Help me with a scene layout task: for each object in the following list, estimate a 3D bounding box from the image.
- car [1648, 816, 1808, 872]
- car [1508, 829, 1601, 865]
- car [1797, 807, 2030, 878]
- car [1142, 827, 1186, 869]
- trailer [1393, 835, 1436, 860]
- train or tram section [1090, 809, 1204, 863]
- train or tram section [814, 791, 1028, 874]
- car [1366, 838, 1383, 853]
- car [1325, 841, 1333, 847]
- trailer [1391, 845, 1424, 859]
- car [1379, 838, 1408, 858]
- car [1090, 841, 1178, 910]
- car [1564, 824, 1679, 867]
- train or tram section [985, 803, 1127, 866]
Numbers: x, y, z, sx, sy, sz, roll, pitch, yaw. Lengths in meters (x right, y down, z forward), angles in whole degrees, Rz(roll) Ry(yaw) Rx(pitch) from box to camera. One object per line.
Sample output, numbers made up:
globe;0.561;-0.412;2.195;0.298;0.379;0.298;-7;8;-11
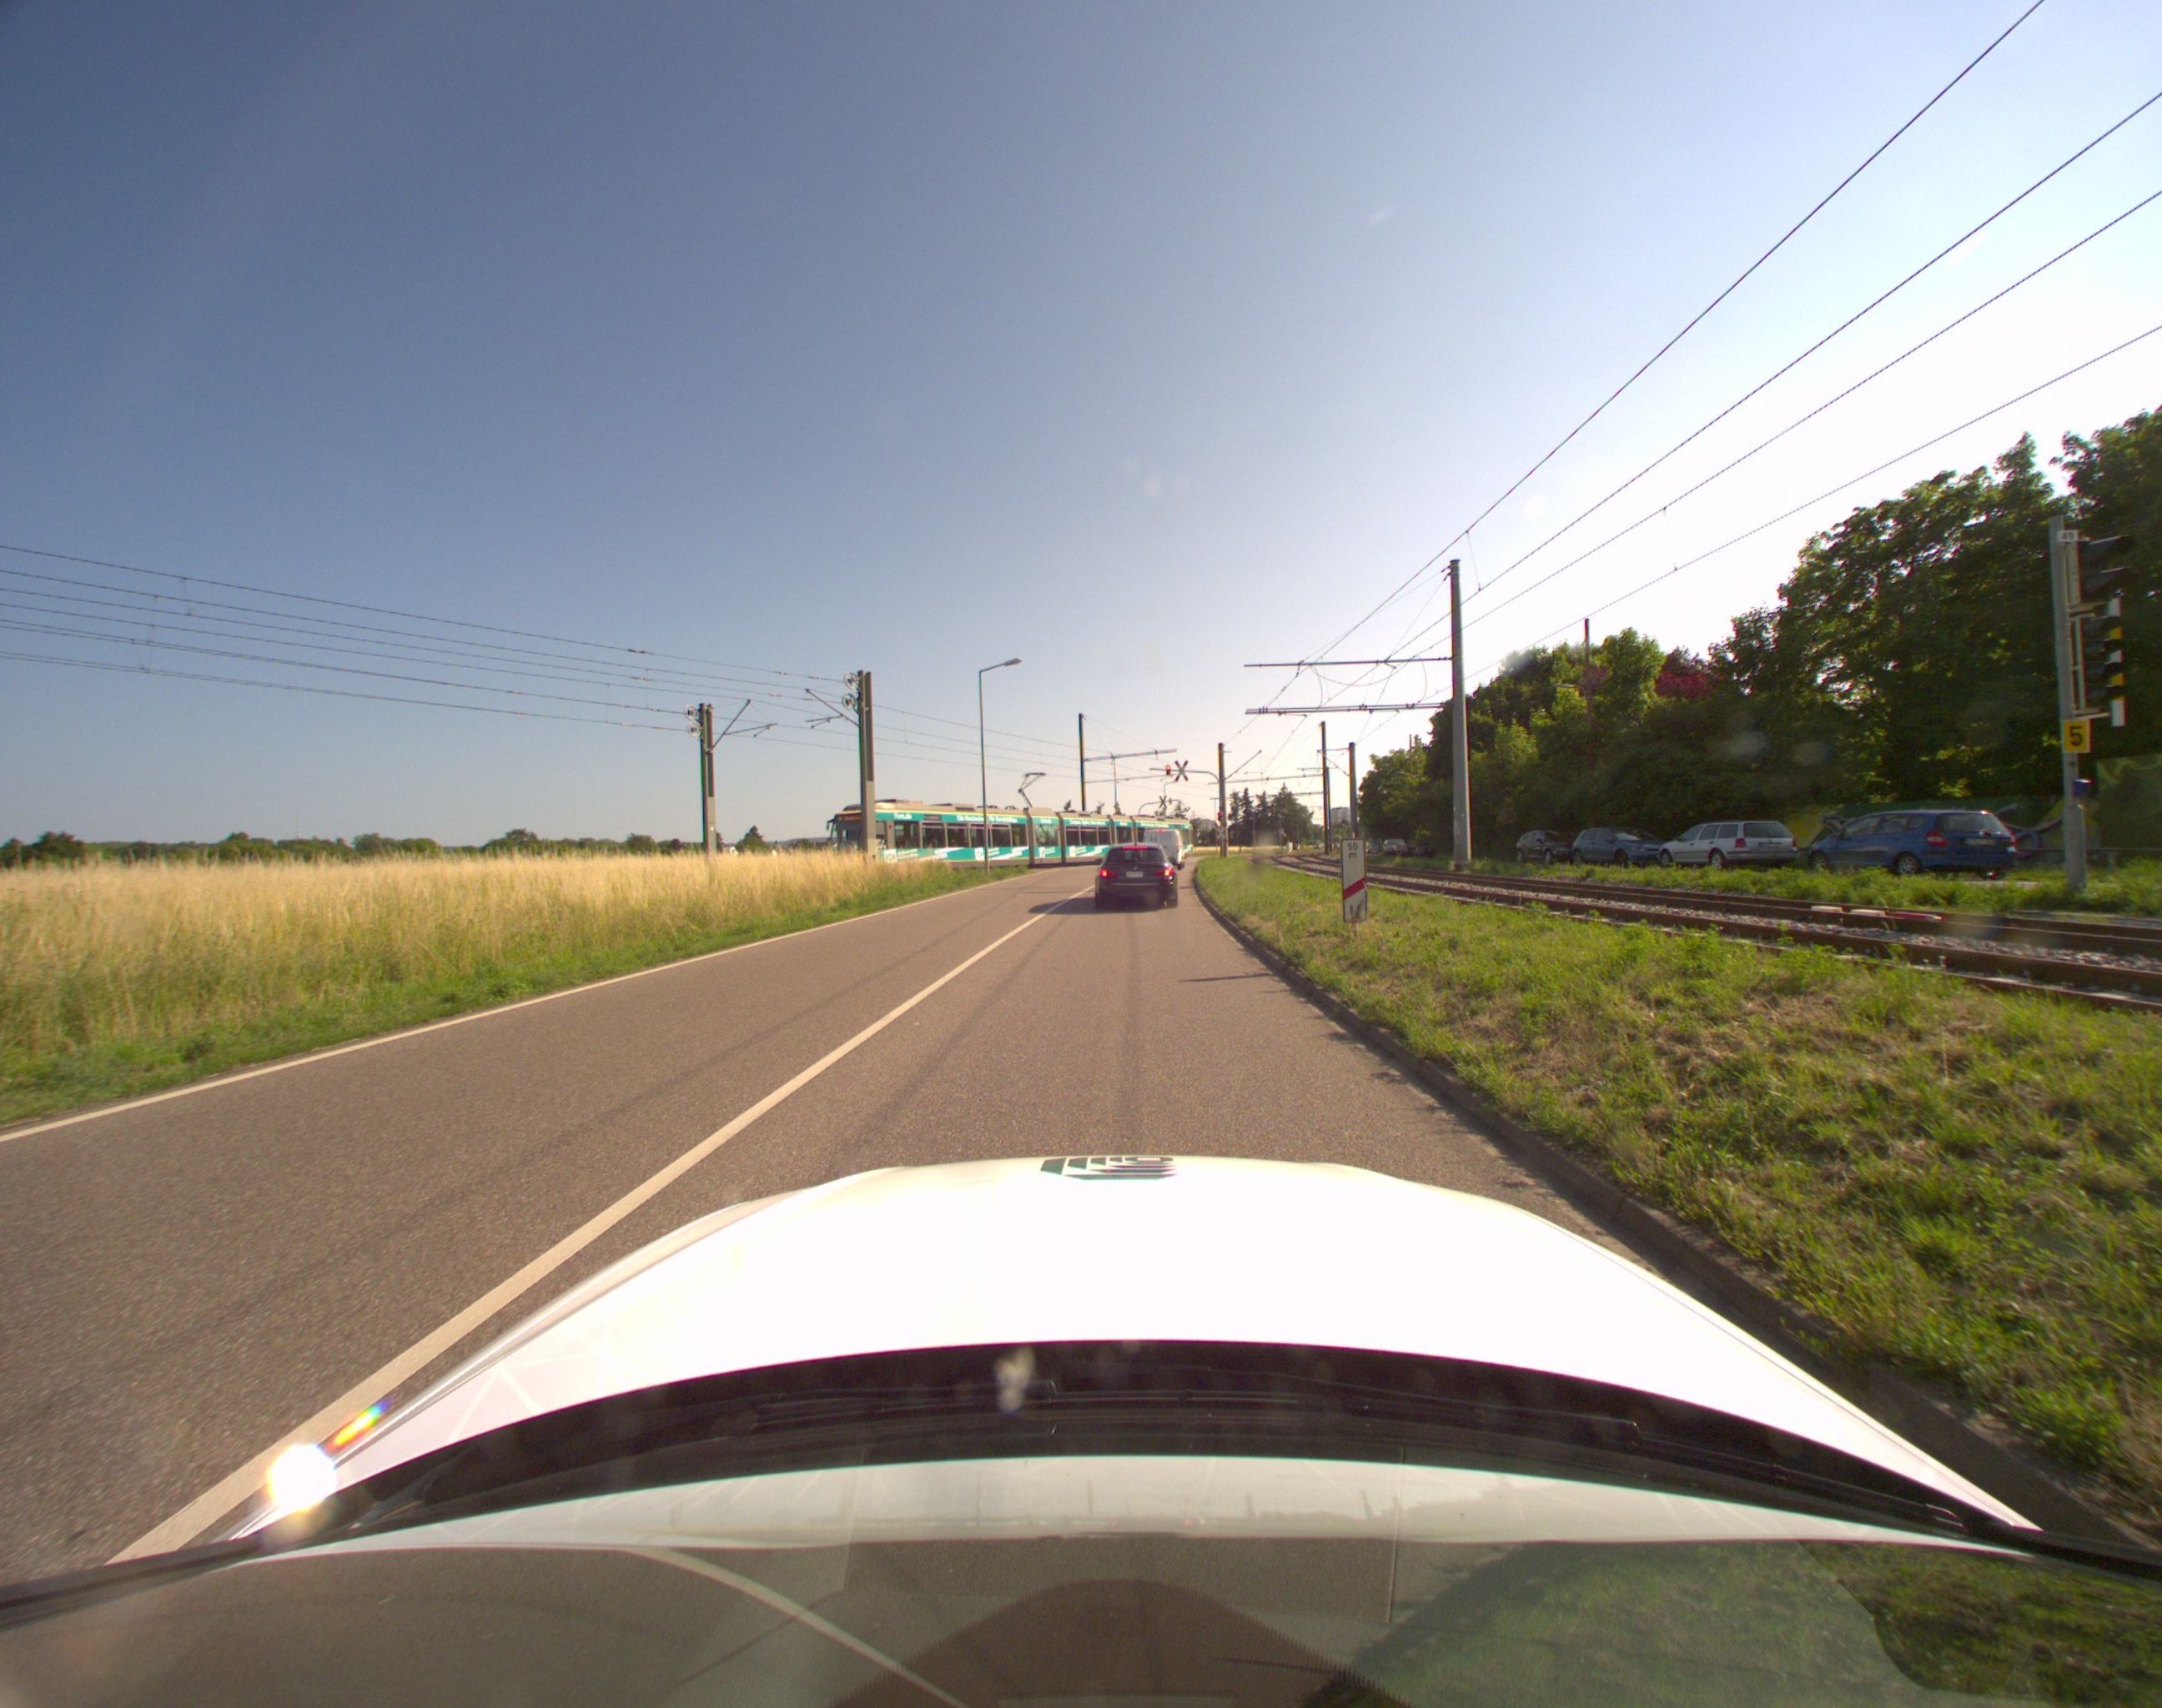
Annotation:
car;19.157;-0.297;24.393;1.700;1.465;4.399;-2;1;7
car;19.778;-0.297;34.248;1.615;1.410;4.527;0;0;5
car;18.545;-0.257;18.425;1.668;1.430;3.921;0;1;9
car;4.287;-0.334;41.612;1.846;1.988;5.122;-1;0;10
trailer;22.550;-0.458;55.234;2.013;1.596;4.274;1;1;13
train or tram section;5.455;-1.141;62.316;2.879;3.569;14.348;0;-1;30
train or tram section;-7.296;-0.970;40.114;2.922;3.484;12.242;0;0;31
car;39.821;-1.130;110.532;1.976;2.004;5.094;1;1;21
car;76.754;-3.068;252.059;1.691;1.665;4.614;-1;0;22
trailer;23.680;-0.192;59.142;1.719;0.939;3.742;2;1;13
car;24.577;-0.498;64.239;1.686;1.456;4.901;1;1;16
car;1.322;0.425;19.735;1.860;1.452;4.750;-1;1;5
car;19.343;-0.308;29.348;1.479;1.401;4.152;-2;0;2
train or tram section;-1.132;-1.028;50.760;2.889;3.454;12.240;0;-1;30
